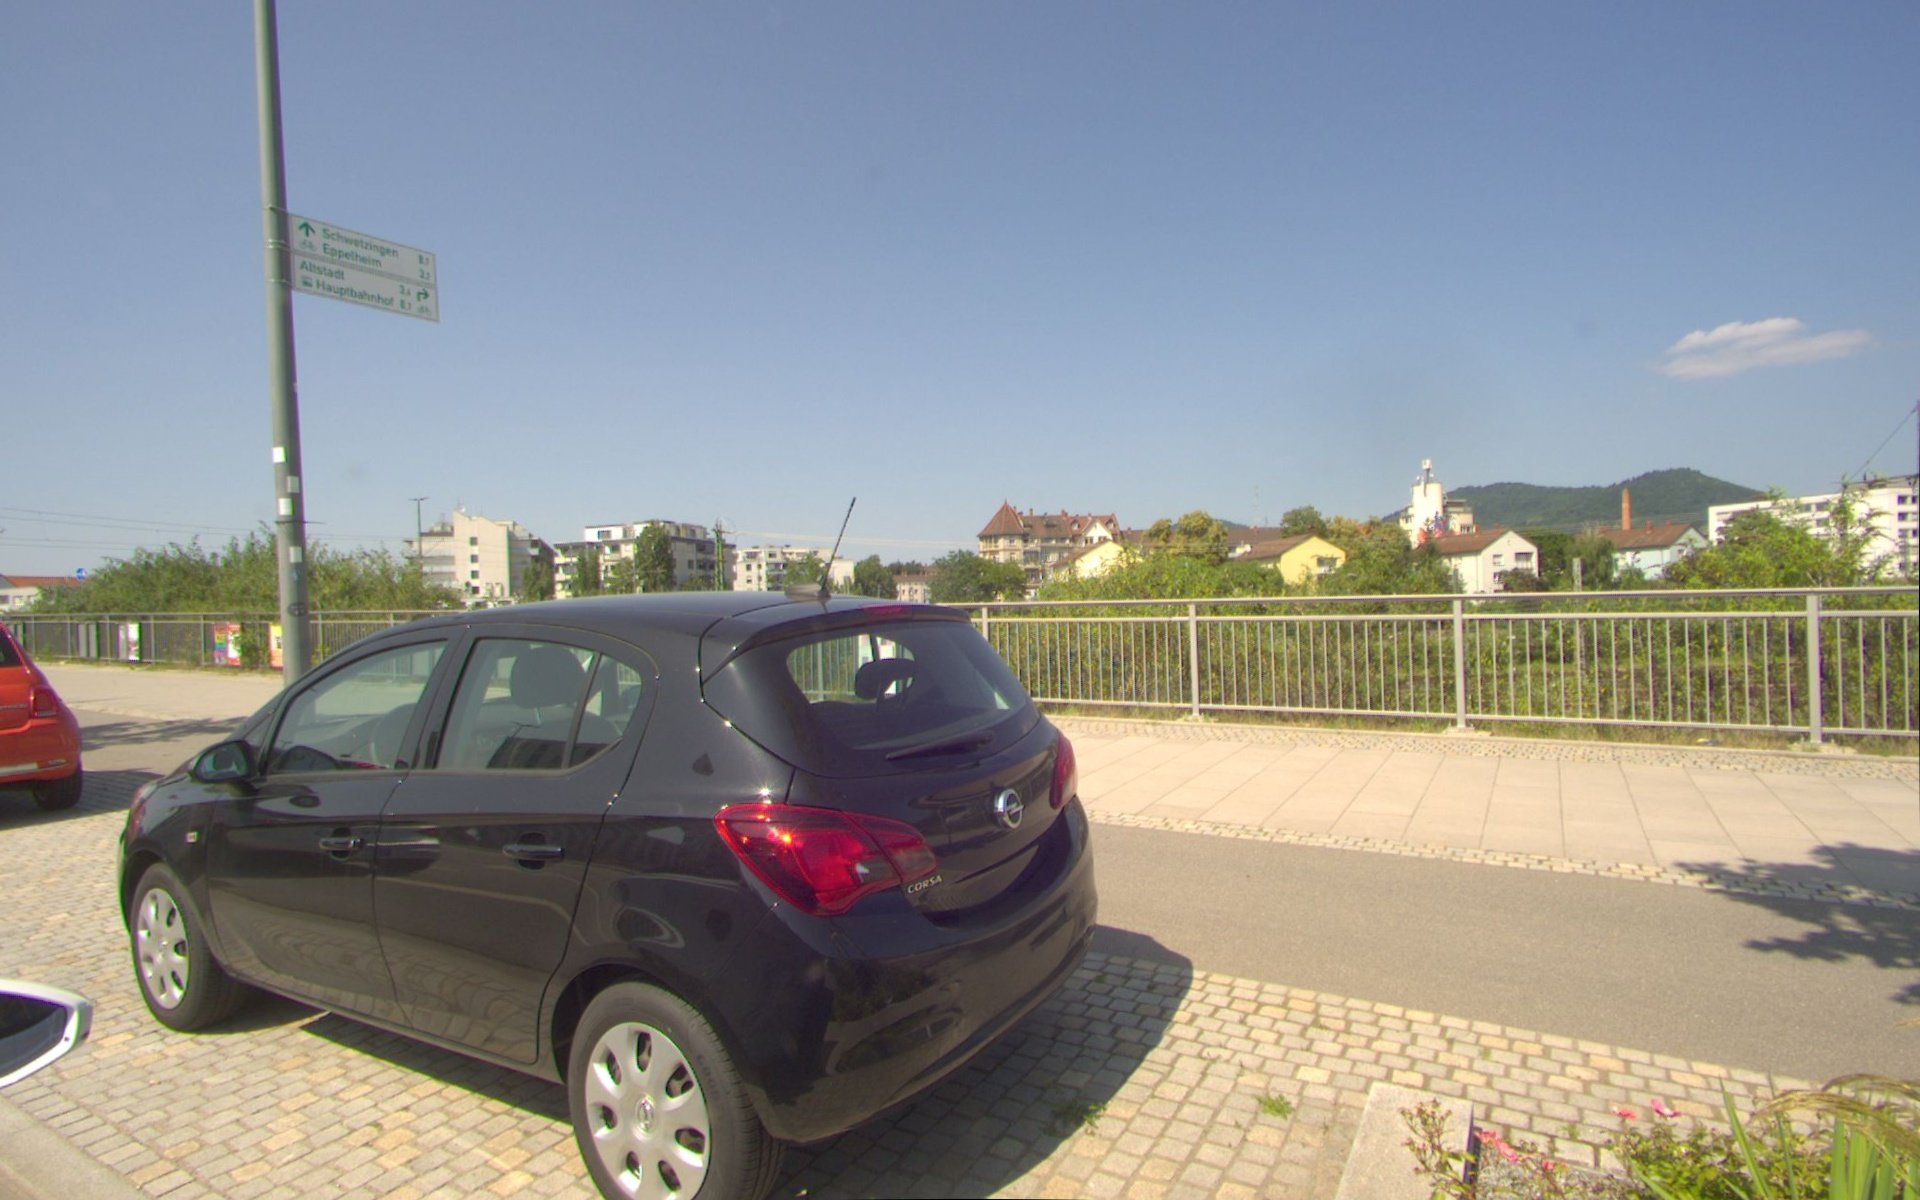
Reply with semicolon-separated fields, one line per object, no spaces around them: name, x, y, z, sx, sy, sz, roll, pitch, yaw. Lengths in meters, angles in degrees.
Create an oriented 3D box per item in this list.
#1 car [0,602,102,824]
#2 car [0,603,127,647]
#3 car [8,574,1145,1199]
car;-8.141;0.808;7.589;3.305;1.517;1.605;-1;2;34
car;-43.851;1.262;48.767;1.964;2.039;4.712;-1;-2;18
car;-1.511;0.705;3.588;3.940;1.446;1.657;-1;2;30
